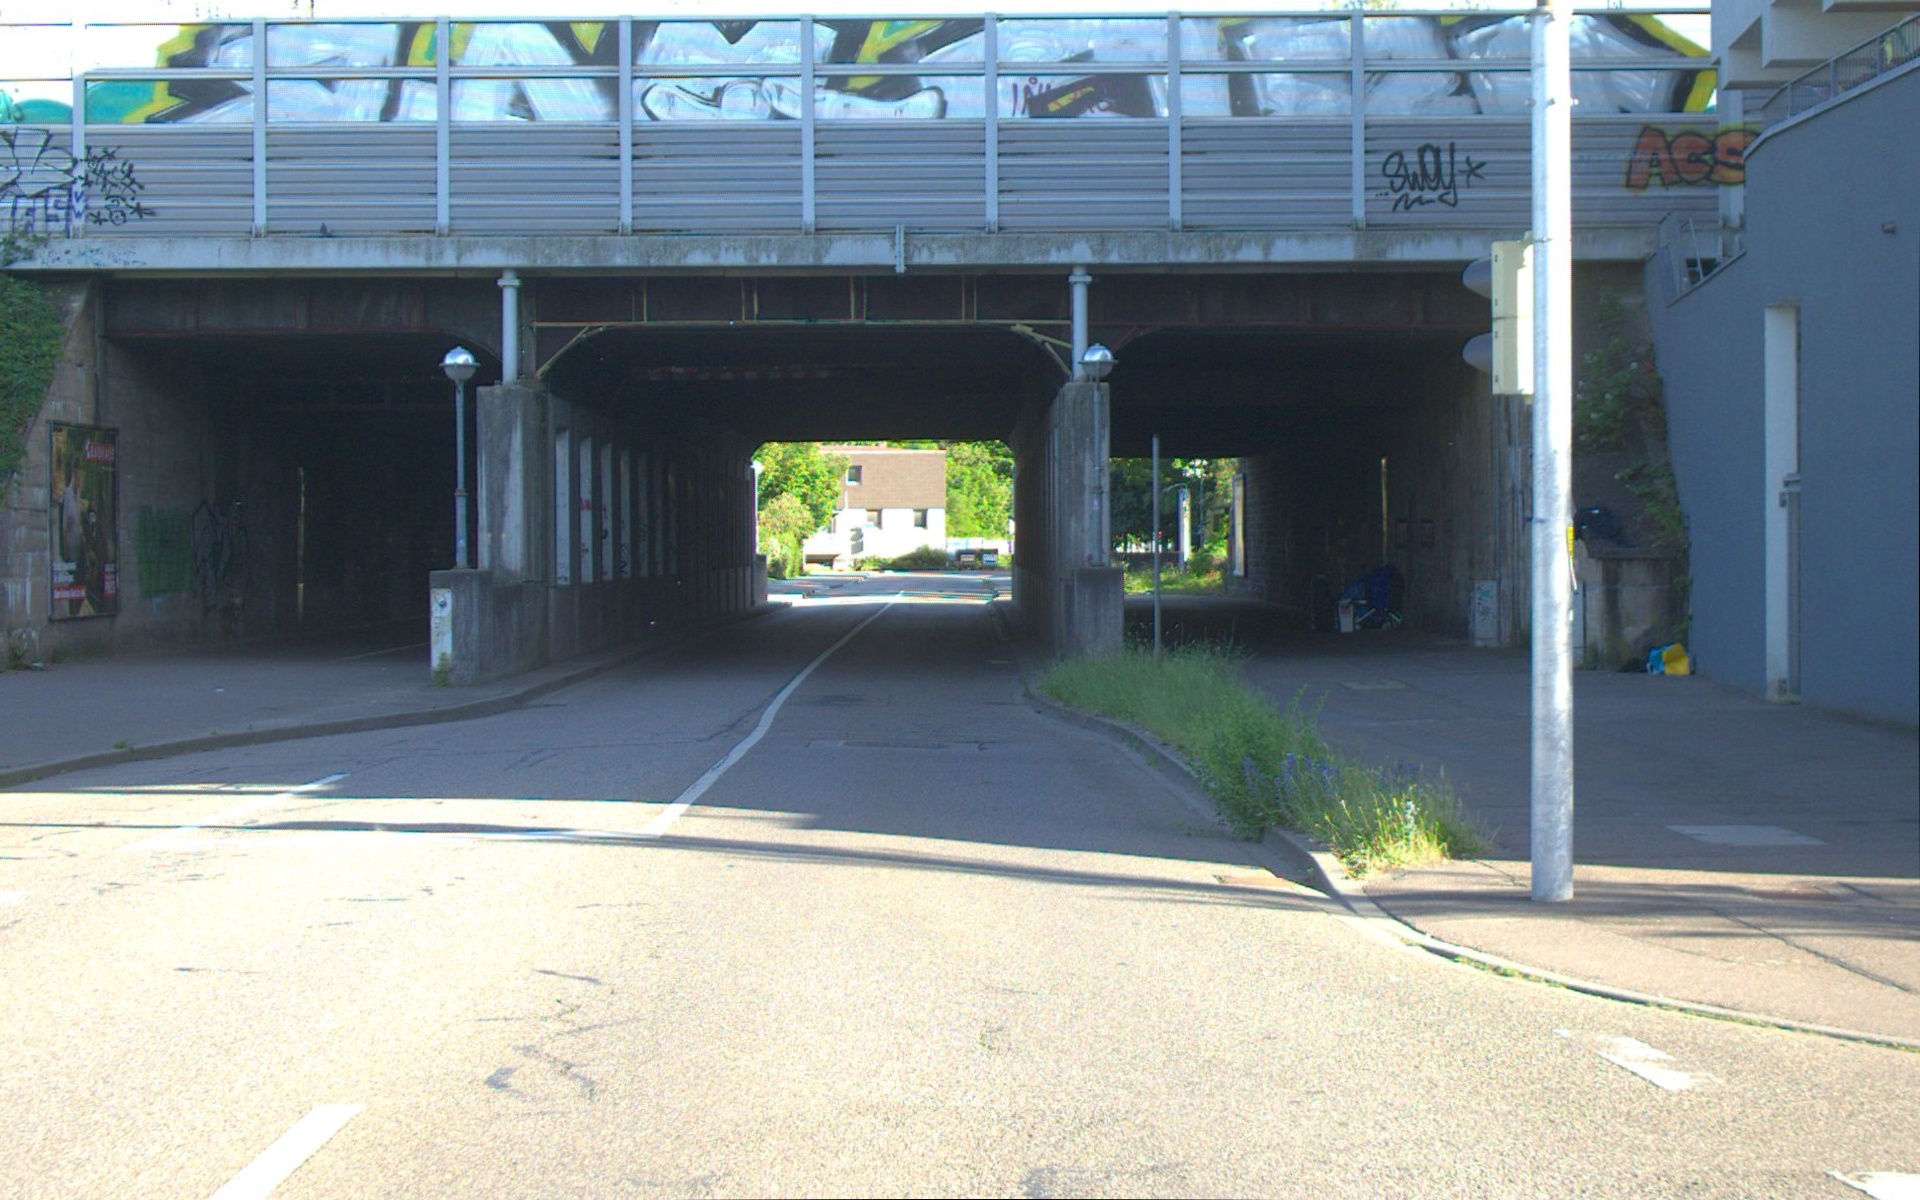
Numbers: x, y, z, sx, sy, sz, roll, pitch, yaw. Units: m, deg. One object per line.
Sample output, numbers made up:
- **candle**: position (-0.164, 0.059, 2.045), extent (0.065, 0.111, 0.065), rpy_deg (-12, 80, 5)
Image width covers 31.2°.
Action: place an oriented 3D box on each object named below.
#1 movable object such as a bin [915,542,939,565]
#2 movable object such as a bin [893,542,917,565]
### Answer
- **movable object such as a bin**: position (-2.100, -2.946, 219.441), extent (1.364, 1.413, 1.066), rpy_deg (2, 0, -7)
- **movable object such as a bin**: position (-3.490, -2.990, 219.213), extent (1.364, 1.413, 1.066), rpy_deg (2, 0, -7)
